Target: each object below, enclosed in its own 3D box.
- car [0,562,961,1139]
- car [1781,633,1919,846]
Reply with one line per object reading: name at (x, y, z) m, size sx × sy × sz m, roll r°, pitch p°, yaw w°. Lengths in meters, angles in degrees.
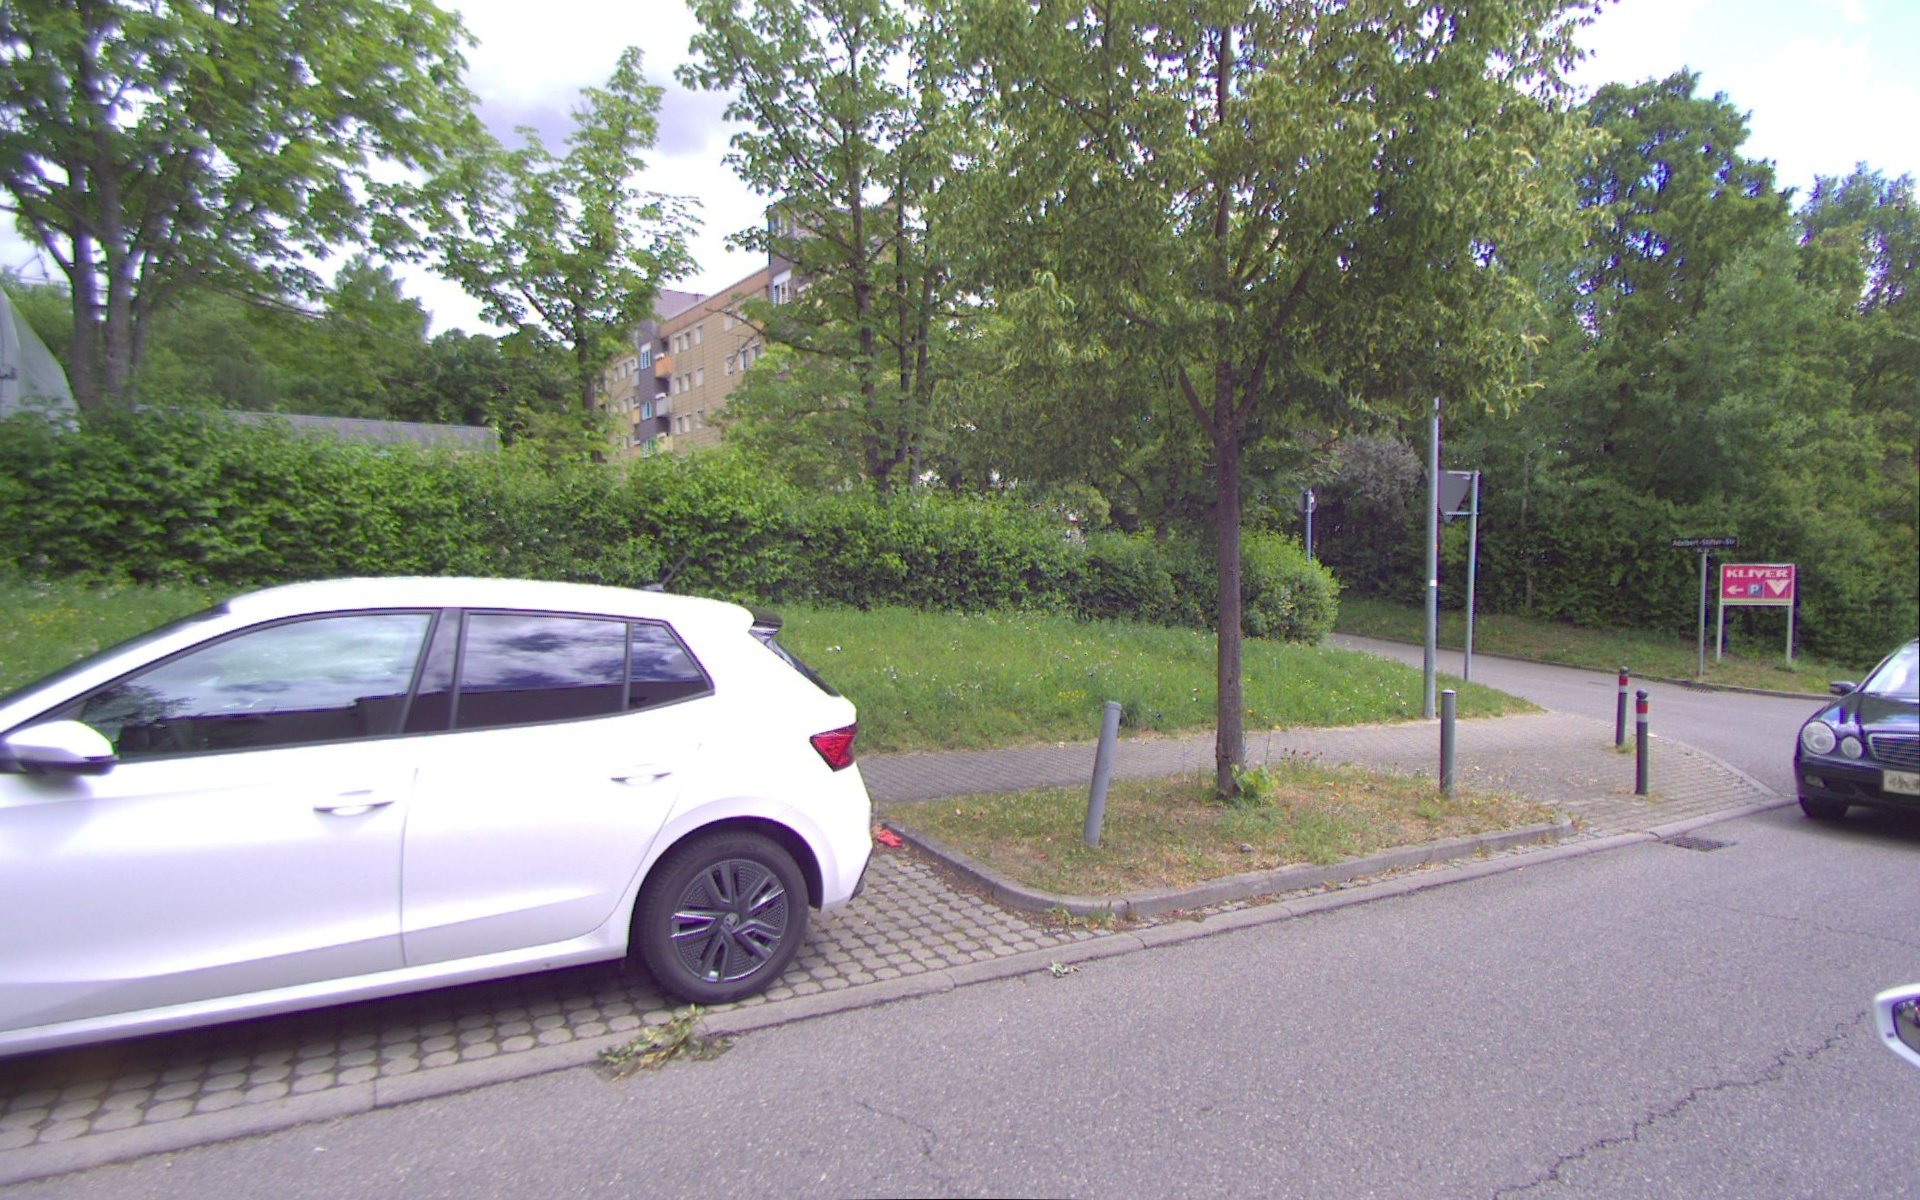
car at (-2.190, 0.652, 3.754) m, size 4.001 × 1.424 × 1.799 m, roll 2°, pitch 2°, yaw -31°
car at (8.356, 1.010, 8.073) m, size 4.327 × 1.438 × 1.739 m, roll 1°, pitch -1°, yaw -37°
